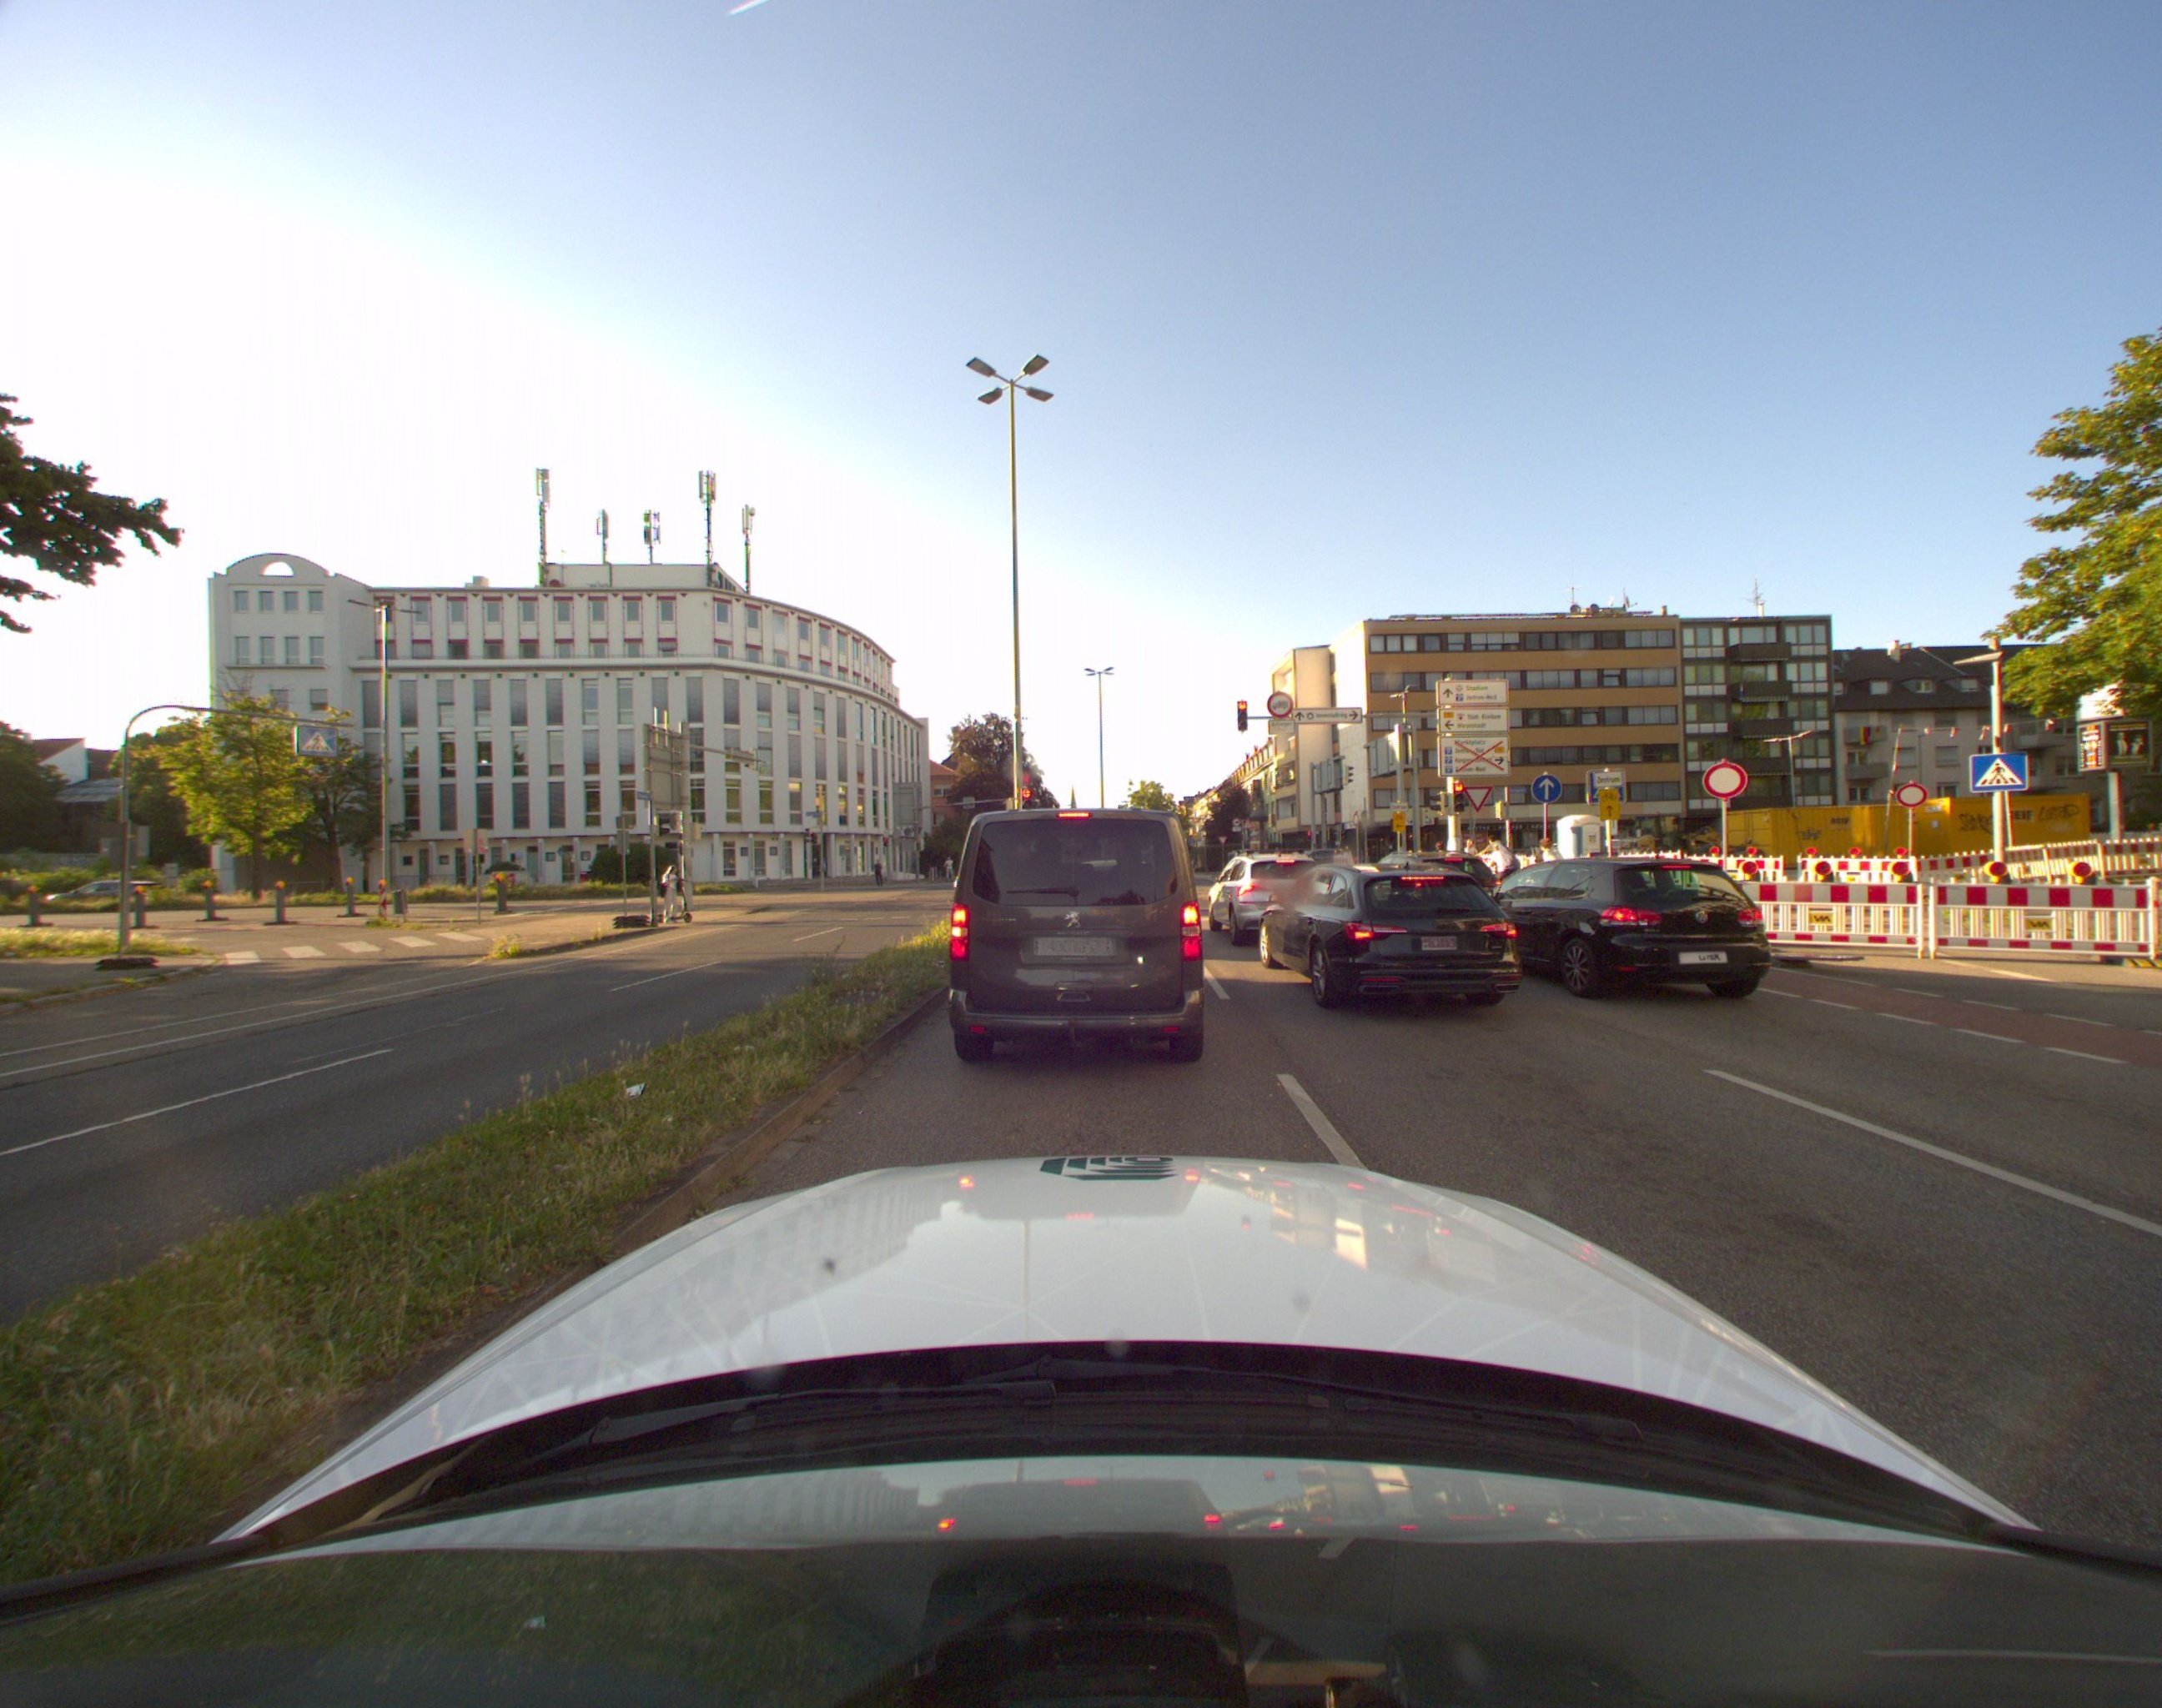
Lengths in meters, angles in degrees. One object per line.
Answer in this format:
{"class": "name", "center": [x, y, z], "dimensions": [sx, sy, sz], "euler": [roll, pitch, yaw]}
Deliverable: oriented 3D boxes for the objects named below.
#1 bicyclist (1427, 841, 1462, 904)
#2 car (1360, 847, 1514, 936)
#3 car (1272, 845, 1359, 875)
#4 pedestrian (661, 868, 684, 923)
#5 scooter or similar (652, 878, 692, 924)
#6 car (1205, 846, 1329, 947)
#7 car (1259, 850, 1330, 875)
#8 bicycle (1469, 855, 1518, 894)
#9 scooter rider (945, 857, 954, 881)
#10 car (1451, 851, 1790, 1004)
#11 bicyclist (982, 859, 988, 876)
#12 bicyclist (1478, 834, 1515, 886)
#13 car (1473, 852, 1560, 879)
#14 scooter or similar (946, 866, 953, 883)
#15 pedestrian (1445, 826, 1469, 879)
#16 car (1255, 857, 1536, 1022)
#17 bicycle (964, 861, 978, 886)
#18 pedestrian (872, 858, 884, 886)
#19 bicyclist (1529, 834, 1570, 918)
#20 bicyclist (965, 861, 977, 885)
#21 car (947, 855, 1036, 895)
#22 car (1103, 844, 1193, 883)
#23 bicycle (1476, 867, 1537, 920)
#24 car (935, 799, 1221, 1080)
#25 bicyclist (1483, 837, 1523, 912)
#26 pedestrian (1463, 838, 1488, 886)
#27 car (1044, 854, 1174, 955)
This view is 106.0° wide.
{"class": "bicyclist", "center": [8.977, 0.455, 20.129], "dimensions": [0.511, 1.525, 0.725], "euler": [-2, 0, 1]}
{"class": "car", "center": [6.531, 0.636, 15.288], "dimensions": [1.499, 1.449, 3.306], "euler": [-2, 0, 2]}
{"class": "car", "center": [12.613, 0.318, 43.901], "dimensions": [4.237, 1.441, 1.693], "euler": [-2, 0, -17]}
{"class": "pedestrian", "center": [-11.533, 1.162, 23.000], "dimensions": [0.474, 1.505, 0.334], "euler": [-2, 0, -10]}
{"class": "scooter or similar", "center": [-11.458, 1.299, 22.830], "dimensions": [0.893, 1.234, 0.370], "euler": [-2, 0, -10]}
{"class": "car", "center": [3.261, 0.690, 14.915], "dimensions": [1.523, 1.613, 3.746], "euler": [0, 0, 2]}
{"class": "car", "center": [12.737, 0.514, 48.614], "dimensions": [3.774, 1.372, 1.648], "euler": [-2, 0, -4]}
{"class": "bicycle", "center": [12.927, 0.639, 25.564], "dimensions": [0.374, 1.161, 1.487], "euler": [0, 1, -25]}
{"class": "scooter rider", "center": [-9.462, 1.097, 58.753], "dimensions": [0.479, 1.697, 0.636], "euler": [-2, 0, 1]}
{"class": "car", "center": [5.999, 0.702, 9.645], "dimensions": [1.627, 1.449, 3.746], "euler": [0, 0, 2]}
{"class": "bicyclist", "center": [-9.007, 1.269, 76.745], "dimensions": [0.461, 1.522, 0.469], "euler": [-2, 0, 1]}
{"class": "bicyclist", "center": [12.986, 0.177, 25.464], "dimensions": [0.621, 1.589, 0.807], "euler": [-1, 1, -27]}
{"class": "car", "center": [24.670, 0.635, 46.223], "dimensions": [3.969, 1.418, 1.683], "euler": [-2, 0, 3]}
{"class": "scooter or similar", "center": [-9.461, 1.451, 58.704], "dimensions": [0.284, 1.189, 1.169], "euler": [-2, 0, 2]}
{"class": "pedestrian", "center": [13.228, -0.065, 28.646], "dimensions": [0.567, 1.834, 0.488], "euler": [-2, 0, 4]}
{"class": "car", "center": [3.198, 0.756, 9.232], "dimensions": [1.675, 1.421, 4.215], "euler": [0, 0, 2]}
{"class": "bicycle", "center": [-9.376, 1.626, 69.338], "dimensions": [0.712, 2.013, 2.564], "euler": [-2, 0, 2]}
{"class": "pedestrian", "center": [-12.817, 1.144, 51.378], "dimensions": [0.626, 1.722, 0.668], "euler": [-2, 0, -12]}
{"class": "bicyclist", "center": [8.643, 0.397, 15.040], "dimensions": [0.439, 1.525, 0.482], "euler": [-2, 0, 1]}
{"class": "bicyclist", "center": [-9.344, 1.577, 69.355], "dimensions": [0.830, 2.014, 1.065], "euler": [0, -1, 3]}
{"class": "car", "center": [-3.535, 0.803, 32.782], "dimensions": [1.675, 1.387, 3.709], "euler": [-3, 0, 28]}
{"class": "car", "center": [3.410, 0.450, 41.241], "dimensions": [4.249, 1.817, 1.978], "euler": [-2, 0, -37]}
{"class": "bicycle", "center": [8.912, 0.806, 17.109], "dimensions": [0.335, 1.008, 1.856], "euler": [-2, 0, 2]}
{"class": "car", "center": [0.048, 0.574, 7.689], "dimensions": [1.900, 1.863, 4.528], "euler": [0, 0, 2]}
{"class": "bicyclist", "center": [8.911, 0.421, 17.193], "dimensions": [0.439, 1.525, 0.725], "euler": [-2, 0, 2]}
{"class": "pedestrian", "center": [13.905, 0.281, 28.704], "dimensions": [0.599, 1.671, 0.455], "euler": [-2, 0, 3]}
{"class": "car", "center": [0.503, 0.796, 14.743], "dimensions": [1.986, 1.530, 4.002], "euler": [-2, 0, 2]}
